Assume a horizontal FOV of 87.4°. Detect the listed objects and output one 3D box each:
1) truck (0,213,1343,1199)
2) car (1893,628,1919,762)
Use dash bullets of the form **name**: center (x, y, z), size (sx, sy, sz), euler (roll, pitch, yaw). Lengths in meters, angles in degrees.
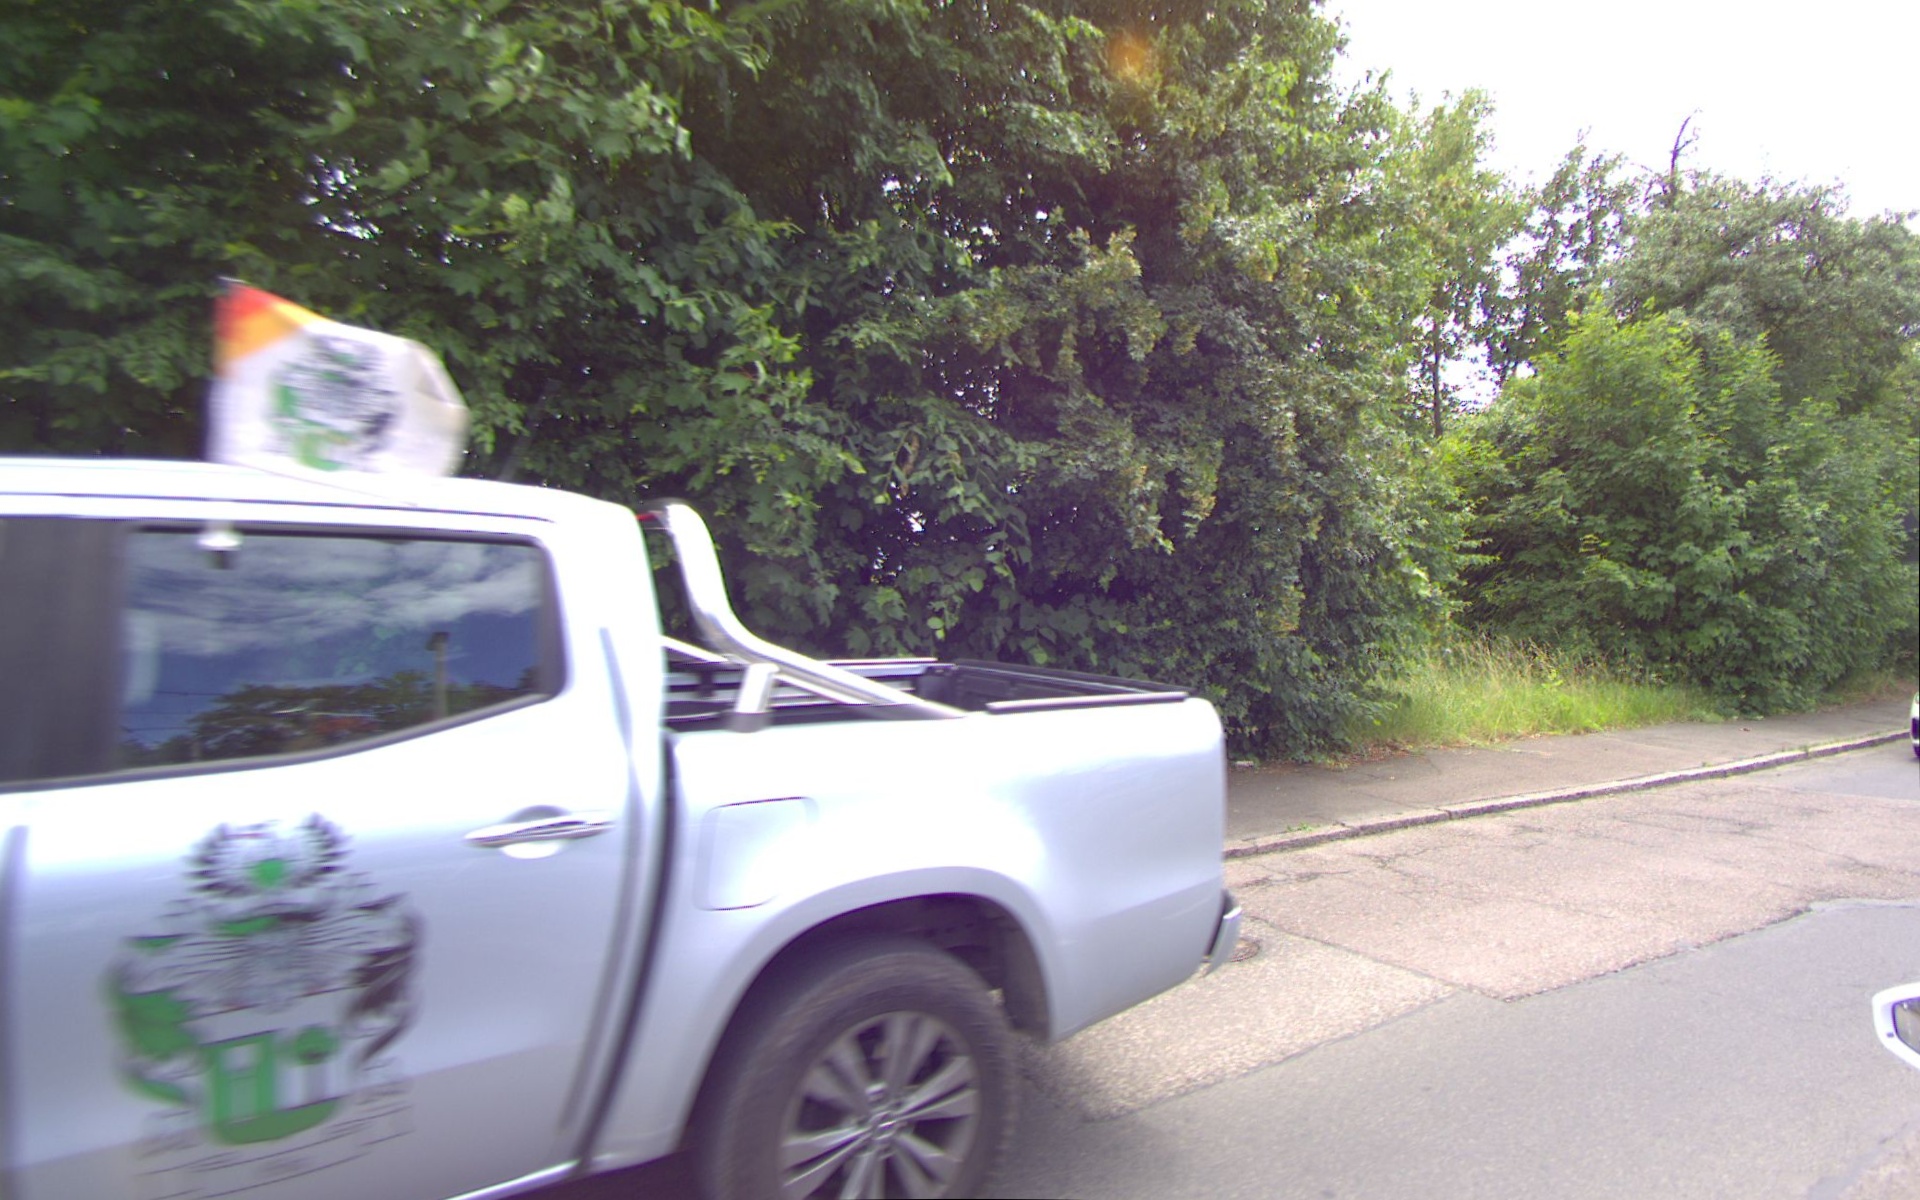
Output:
- **truck**: center (-1.486, 0.463, 2.361), size (4.902, 1.992, 1.838), euler (1, 0, -32)
- **car**: center (13.338, 1.127, 12.367), size (4.615, 1.542, 1.916), euler (2, -2, -37)
